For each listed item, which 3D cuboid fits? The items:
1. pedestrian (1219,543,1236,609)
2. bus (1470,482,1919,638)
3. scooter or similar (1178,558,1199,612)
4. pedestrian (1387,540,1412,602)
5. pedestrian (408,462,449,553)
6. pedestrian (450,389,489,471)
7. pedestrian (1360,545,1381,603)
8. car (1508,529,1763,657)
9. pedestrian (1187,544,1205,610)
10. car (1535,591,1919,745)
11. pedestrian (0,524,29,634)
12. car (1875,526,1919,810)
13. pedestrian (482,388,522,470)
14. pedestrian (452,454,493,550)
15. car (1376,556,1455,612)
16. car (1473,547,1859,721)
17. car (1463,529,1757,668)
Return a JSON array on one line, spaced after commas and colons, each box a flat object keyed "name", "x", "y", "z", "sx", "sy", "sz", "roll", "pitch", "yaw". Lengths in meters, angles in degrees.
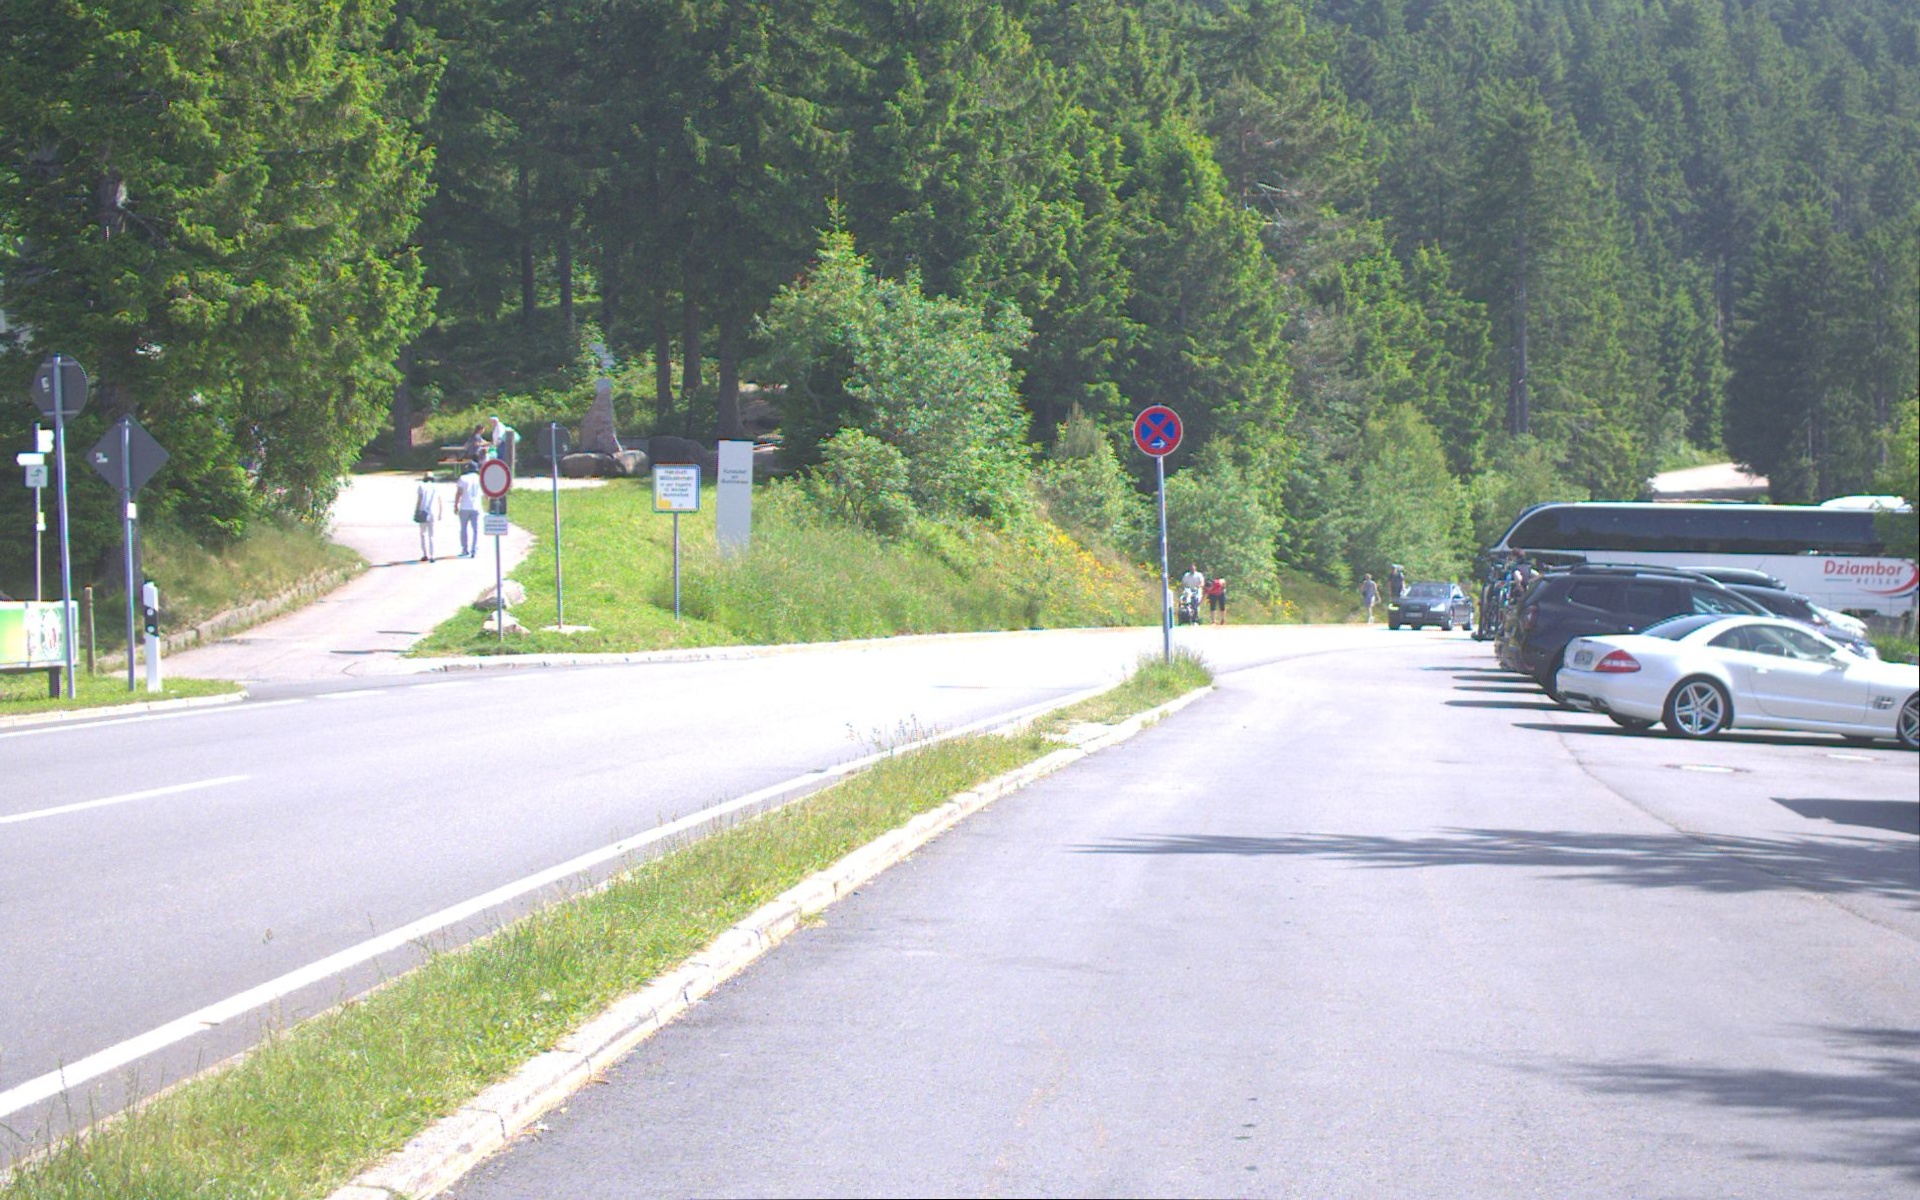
[{"name": "pedestrian", "x": 7.132, "y": -0.640, "z": 91.661, "sx": 0.395, "sy": 1.741, "sz": 0.406, "roll": -2, "pitch": 2, "yaw": 6}, {"name": "bus", "x": 18.971, "y": -1.024, "z": 82.896, "sx": 12.876, "sy": 3.565, "sz": 2.978, "roll": 1, "pitch": 3, "yaw": 23}, {"name": "scooter or similar", "x": 6.065, "y": -0.407, "z": 91.372, "sx": 0.483, "sy": 1.375, "sz": 0.817, "roll": -2, "pitch": 2, "yaw": 6}, {"name": "pedestrian", "x": 14.402, "y": -0.938, "z": 112.546, "sx": 0.733, "sy": 2.007, "sz": 0.862, "roll": -2, "pitch": -1, "yaw": 6}, {"name": "pedestrian", "x": -9.944, "y": -1.730, "z": 64.343, "sx": 0.652, "sy": 1.661, "sz": 0.643, "roll": -1, "pitch": -1, "yaw": 0}, {"name": "pedestrian", "x": -12.263, "y": -4.238, "z": 85.915, "sx": 0.797, "sy": 2.006, "sz": 0.940, "roll": -2, "pitch": 2, "yaw": -2}, {"name": "pedestrian", "x": 13.583, "y": -0.846, "z": 113.718, "sx": 0.622, "sy": 1.893, "sz": 0.655, "roll": -2, "pitch": -1, "yaw": 6}, {"name": "car", "x": 11.217, "y": -0.139, "z": 57.330, "sx": 3.988, "sy": 1.808, "sz": 1.939, "roll": 4, "pitch": 3, "yaw": 8}, {"name": "pedestrian", "x": 6.313, "y": -0.627, "z": 91.991, "sx": 0.415, "sy": 1.741, "sz": 0.457, "roll": -2, "pitch": 2, "yaw": 6}, {"name": "car", "x": 8.390, "y": 0.718, "z": 35.625, "sx": 4.452, "sy": 1.294, "sz": 1.583, "roll": 4, "pitch": 1, "yaw": -10}, {"name": "pedestrian", "x": -13.554, "y": -0.294, "z": 48.537, "sx": 0.577, "sy": 1.527, "sz": 0.552, "roll": -2, "pitch": 2, "yaw": 6}, {"name": "car", "x": 7.603, "y": 0.538, "z": 23.273, "sx": 1.905, "sy": 1.965, "sz": 4.818, "roll": 4, "pitch": 1, "yaw": 6}, {"name": "pedestrian", "x": -11.378, "y": -4.252, "z": 85.428, "sx": 0.815, "sy": 2.006, "sz": 0.853, "roll": -2, "pitch": 2, "yaw": -2}, {"name": "pedestrian", "x": -9.204, "y": -1.846, "z": 64.889, "sx": 0.652, "sy": 1.793, "sz": 0.643, "roll": -1, "pitch": 0, "yaw": 0}, {"name": "car", "x": 13.930, "y": -0.503, "z": 104.965, "sx": 1.995, "sy": 1.656, "sz": 3.998, "roll": 0, "pitch": 1, "yaw": 13}, {"name": "car", "x": 8.222, "y": 0.378, "z": 40.301, "sx": 3.987, "sy": 1.693, "sz": 2.000, "roll": 4, "pitch": 2, "yaw": -1}, {"name": "car", "x": 9.451, "y": -0.048, "z": 50.243, "sx": 3.988, "sy": 1.713, "sz": 1.867, "roll": 3, "pitch": 3, "yaw": 6}]
